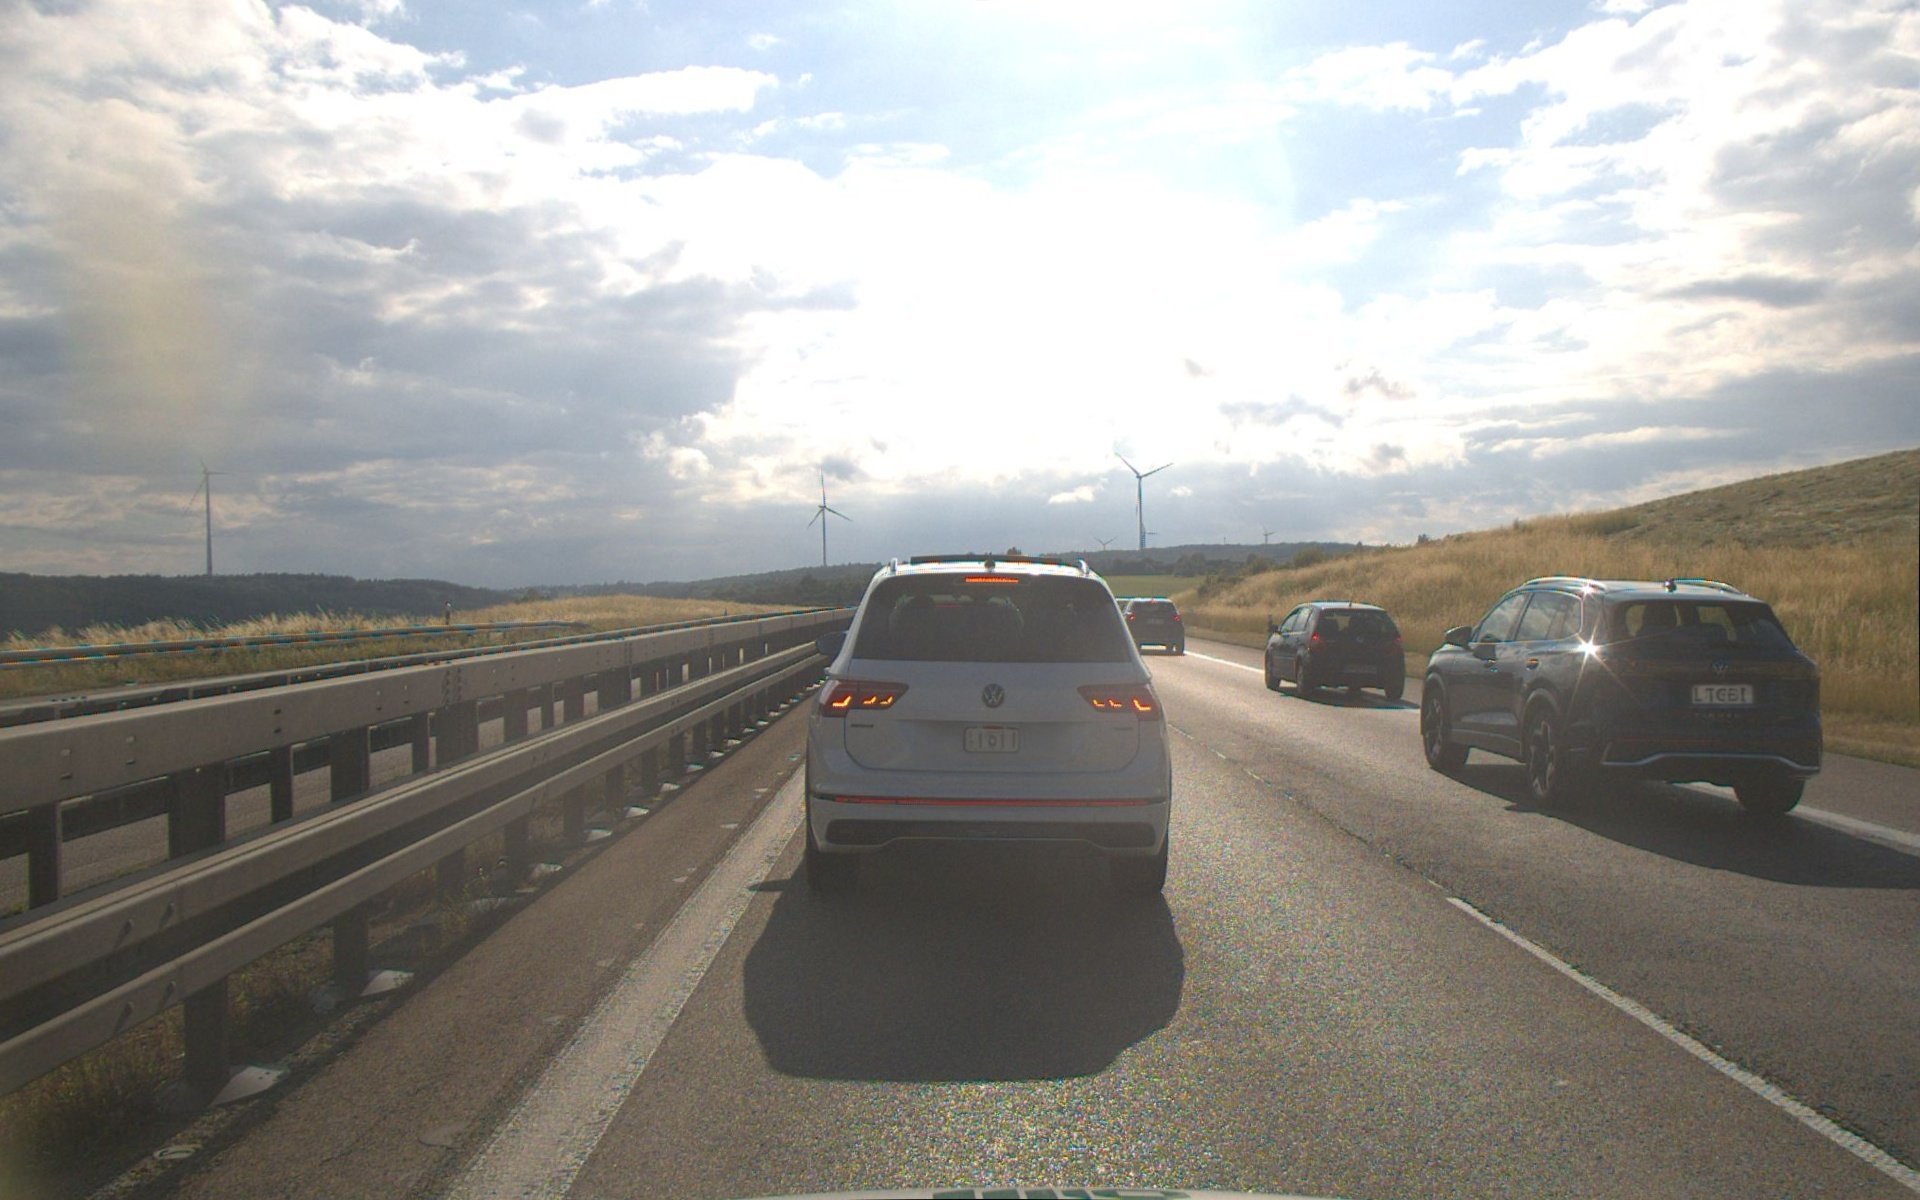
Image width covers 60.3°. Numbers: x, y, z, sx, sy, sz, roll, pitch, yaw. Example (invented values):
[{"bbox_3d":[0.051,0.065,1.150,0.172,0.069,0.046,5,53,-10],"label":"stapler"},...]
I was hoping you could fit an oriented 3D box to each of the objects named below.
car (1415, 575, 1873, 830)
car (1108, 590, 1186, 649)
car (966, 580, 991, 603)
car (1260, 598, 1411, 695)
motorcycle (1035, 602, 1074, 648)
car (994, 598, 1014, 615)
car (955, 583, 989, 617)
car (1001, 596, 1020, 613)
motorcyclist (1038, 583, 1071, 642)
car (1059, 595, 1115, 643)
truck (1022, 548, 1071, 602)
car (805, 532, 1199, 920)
[{"bbox_3d":[5.114,0.684,13.065,1.784,1.629,4.234,2,0,-1],"label":"car"},{"bbox_3d":[5.180,0.531,46.165,1.669,1.573,3.999,0,0,-1],"label":"car"},{"bbox_3d":[1.271,-0.578,114.586,1.669,1.573,3.999,0,0,-1],"label":"car"},{"bbox_3d":[5.960,0.703,26.598,1.573,1.445,3.672,0,0,-1],"label":"car"},{"bbox_3d":[2.555,0.674,44.868,0.877,1.211,2.256,0,0,-1],"label":"motorcycle"},{"bbox_3d":[3.948,0.576,150.124,1.669,1.573,3.999,0,0,-1],"label":"car"},{"bbox_3d":[0.603,-0.005,84.541,1.669,1.679,3.999,0,0,-1],"label":"car"},{"bbox_3d":[4.909,0.424,161.498,1.669,1.573,3.999,0,0,-1],"label":"car"},{"bbox_3d":[2.559,0.341,44.824,0.832,1.587,0.934,0,0,-1],"label":"motorcyclist"},{"bbox_3d":[4.584,0.675,60.222,1.669,1.679,3.999,0,0,-1],"label":"car"},{"bbox_3d":[6.066,-1.744,117.343,3.118,3.656,11.132,0,1,1],"label":"truck"},{"bbox_3d":[0.163,0.563,9.295,1.734,1.705,3.999,0,0,-1],"label":"car"}]
